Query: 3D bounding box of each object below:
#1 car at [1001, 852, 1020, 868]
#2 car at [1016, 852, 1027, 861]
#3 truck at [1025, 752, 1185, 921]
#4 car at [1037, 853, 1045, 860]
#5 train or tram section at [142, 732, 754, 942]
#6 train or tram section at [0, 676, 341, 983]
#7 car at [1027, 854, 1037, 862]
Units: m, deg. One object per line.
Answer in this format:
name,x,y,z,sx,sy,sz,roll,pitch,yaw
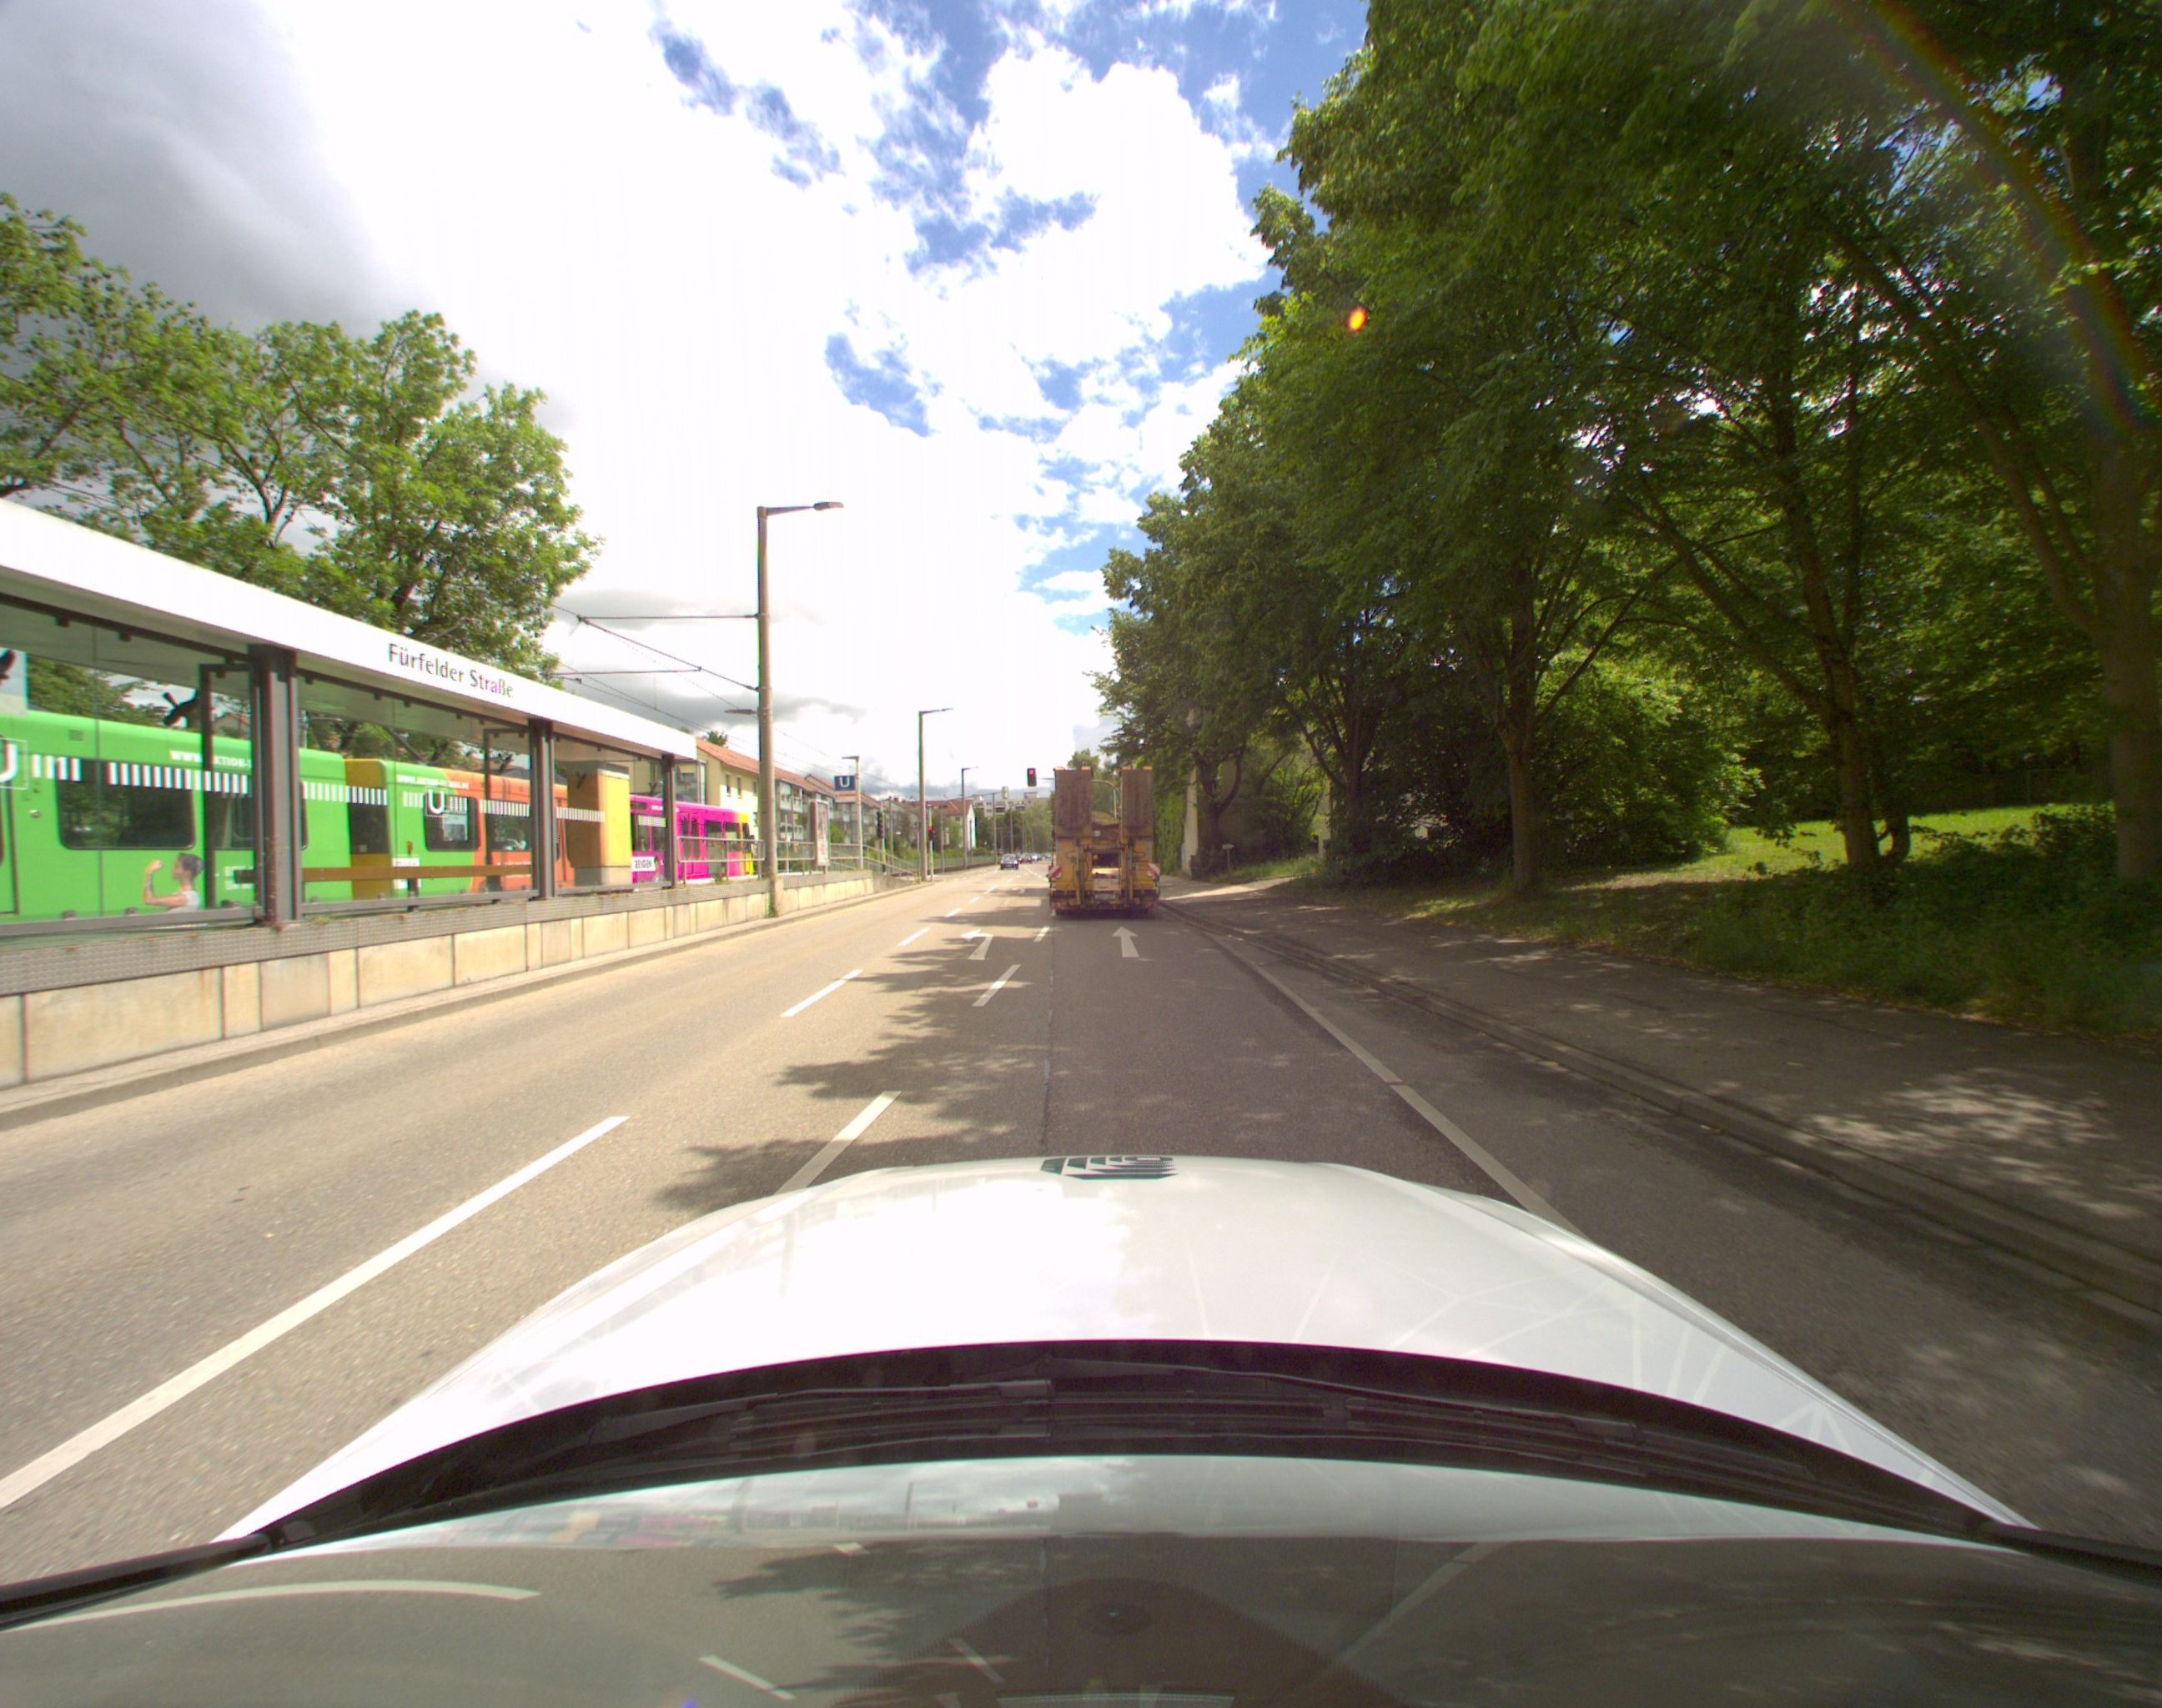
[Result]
car,-6.803,0.594,78.363,1.663,1.453,3.675,0,-1,-2
car,-9.015,0.387,123.797,1.663,1.453,3.675,0,-1,-2
truck,0.090,-0.434,25.219,3.396,3.732,13.716,-2,0,-5
car,-8.479,0.571,170.973,1.663,1.453,3.675,0,-1,-2
train or tram section,-14.304,-0.311,23.037,3.100,3.464,19.072,0,0,-2
train or tram section,-13.555,-0.257,3.957,3.100,3.464,19.181,0,0,-2
car,-8.402,0.707,139.144,1.663,1.453,3.675,0,-1,-2
